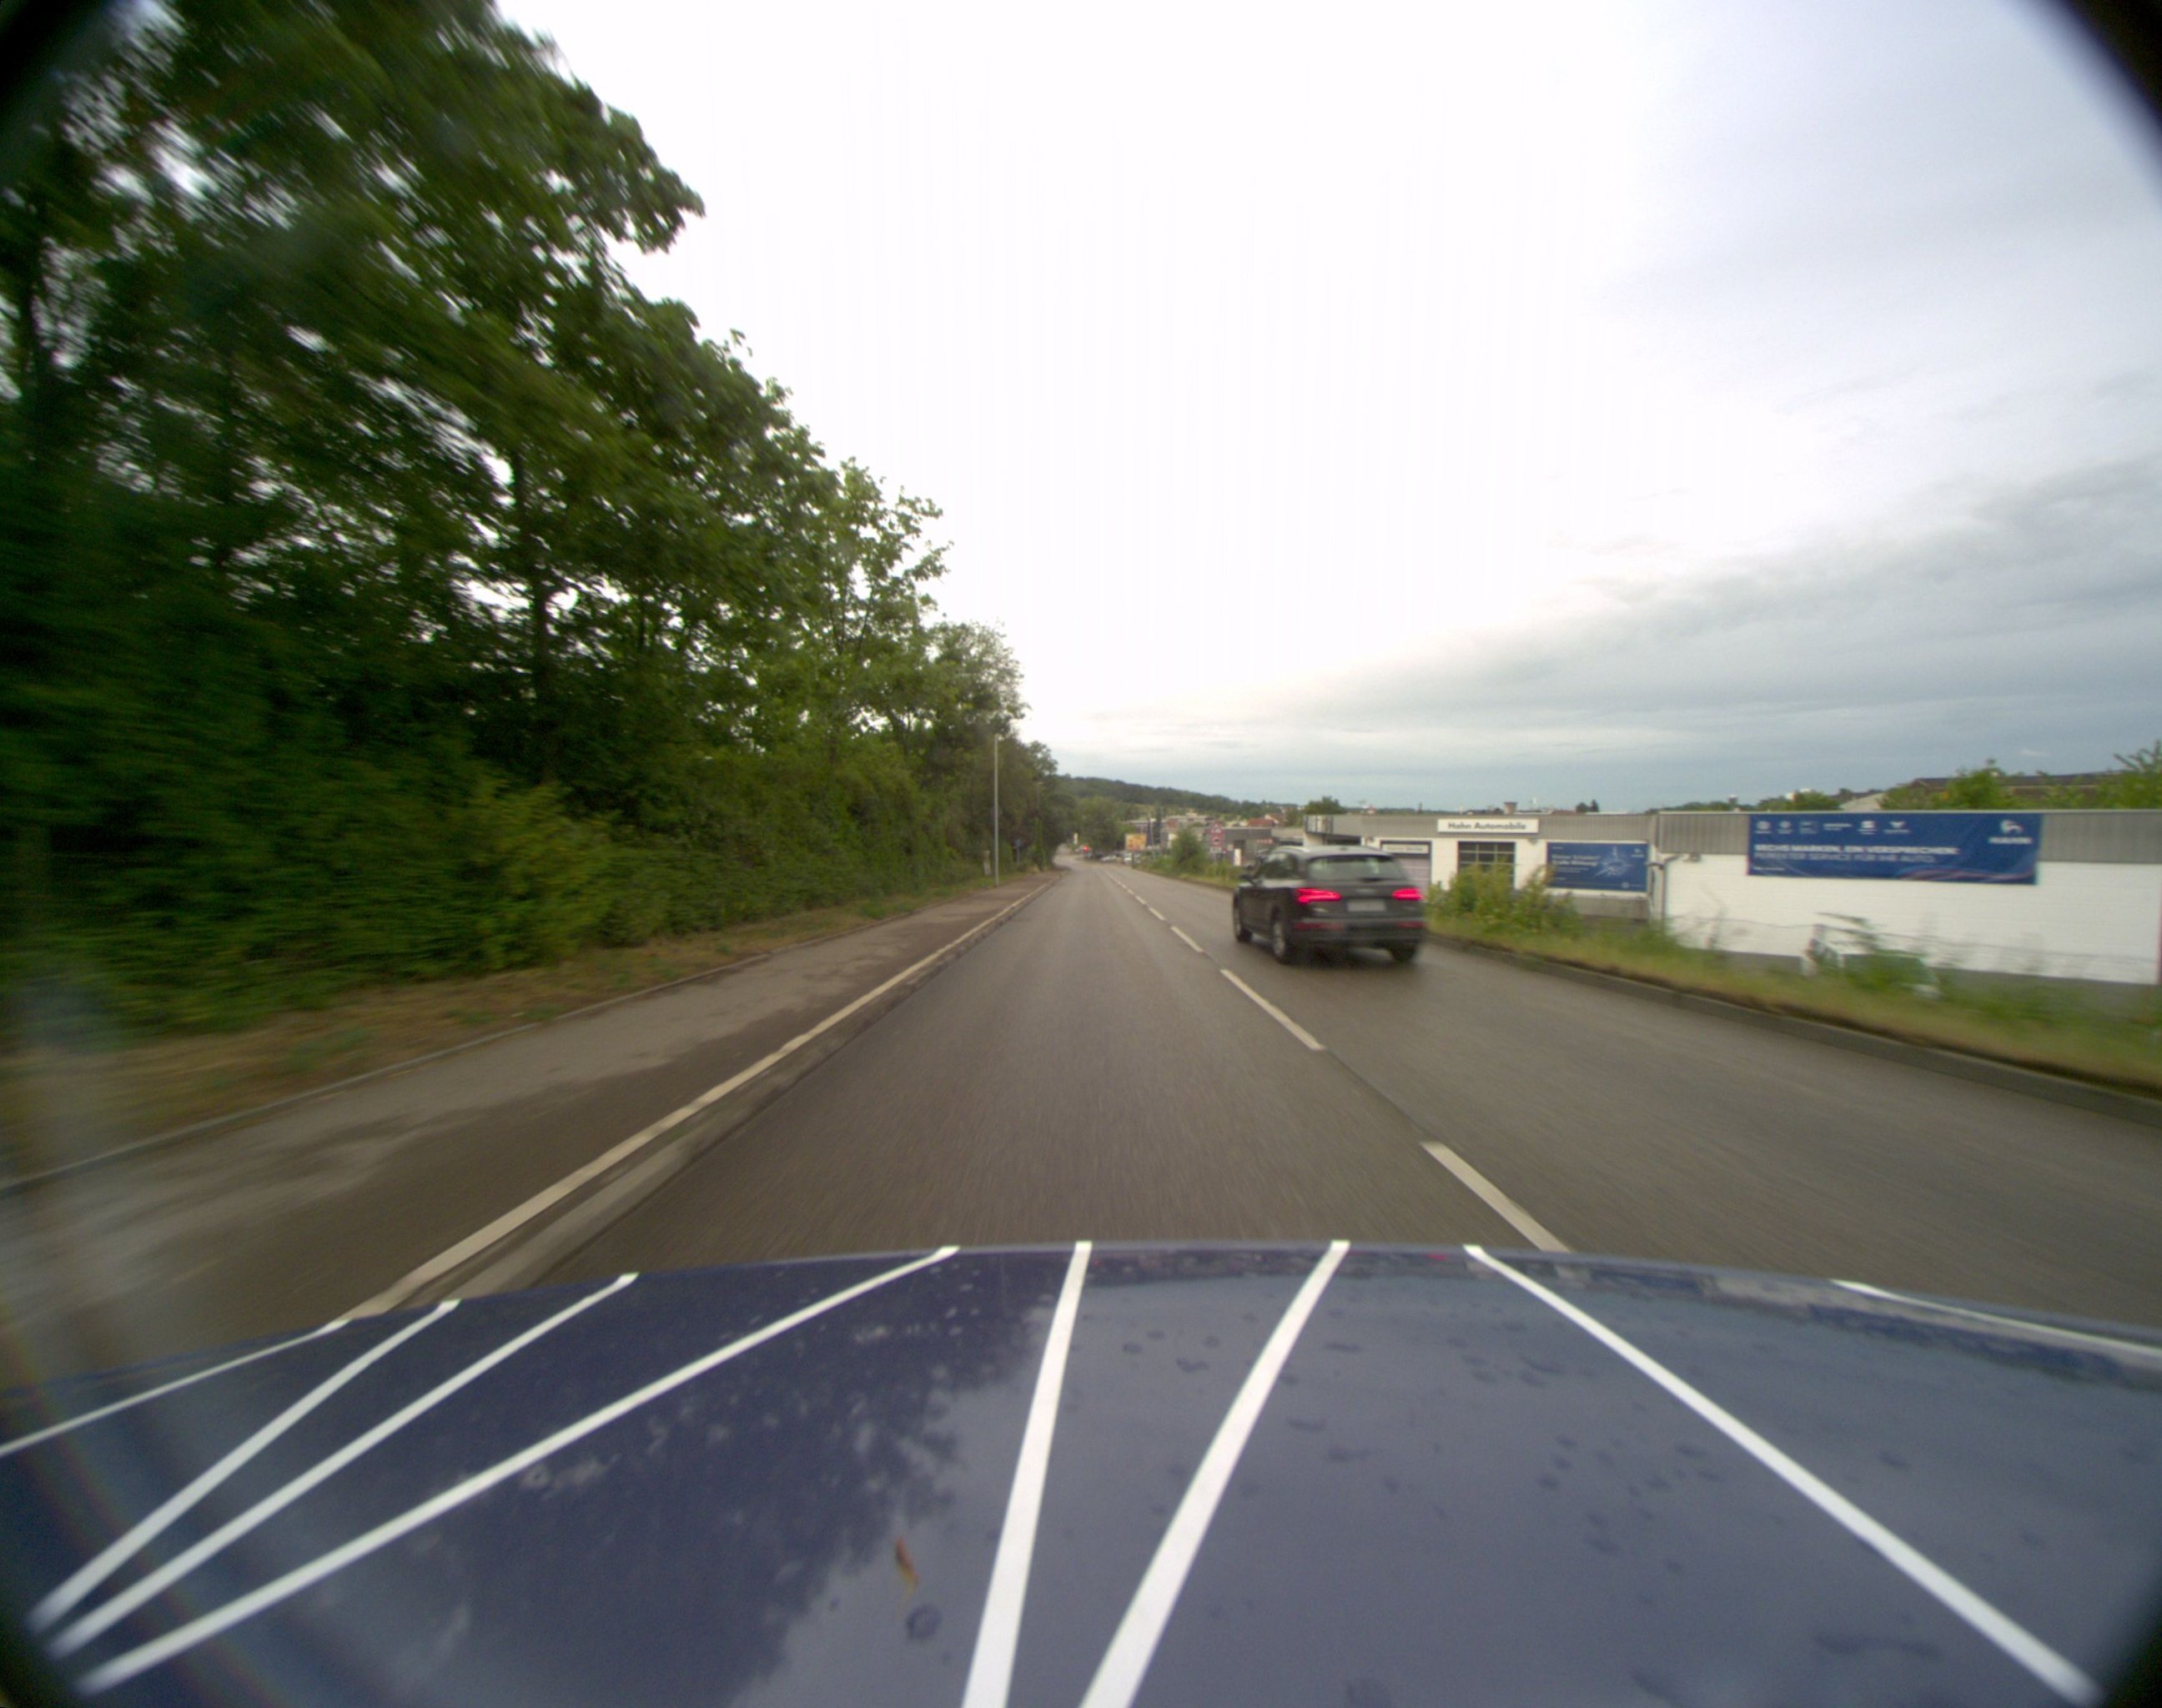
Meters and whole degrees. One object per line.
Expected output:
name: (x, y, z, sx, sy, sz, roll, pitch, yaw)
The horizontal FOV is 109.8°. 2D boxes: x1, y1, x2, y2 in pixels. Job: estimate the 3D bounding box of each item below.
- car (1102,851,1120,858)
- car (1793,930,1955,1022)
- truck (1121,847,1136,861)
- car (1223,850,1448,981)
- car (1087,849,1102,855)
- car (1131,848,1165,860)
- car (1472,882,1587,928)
car: (7.045, 0.155, 179.416, 4.015, 1.561, 1.716, -3, 2, -39)
car: (21.429, 3.192, 20.783, 1.861, 1.793, 4.652, 5, 0, 32)
truck: (9.251, 0.051, 148.523, 1.999, 2.617, 7.889, 0, 1, -3)
car: (3.505, 0.740, 11.432, 1.874, 1.576, 4.414, -1, 0, 0)
car: (3.614, -0.510, 196.836, 3.768, 1.558, 1.671, 0, 1, -3)
car: (10.757, 0.023, 122.353, 5.084, 1.860, 1.821, 0, 1, -8)
car: (22.350, 2.494, 37.939, 4.625, 1.793, 1.872, 5, 0, 38)
